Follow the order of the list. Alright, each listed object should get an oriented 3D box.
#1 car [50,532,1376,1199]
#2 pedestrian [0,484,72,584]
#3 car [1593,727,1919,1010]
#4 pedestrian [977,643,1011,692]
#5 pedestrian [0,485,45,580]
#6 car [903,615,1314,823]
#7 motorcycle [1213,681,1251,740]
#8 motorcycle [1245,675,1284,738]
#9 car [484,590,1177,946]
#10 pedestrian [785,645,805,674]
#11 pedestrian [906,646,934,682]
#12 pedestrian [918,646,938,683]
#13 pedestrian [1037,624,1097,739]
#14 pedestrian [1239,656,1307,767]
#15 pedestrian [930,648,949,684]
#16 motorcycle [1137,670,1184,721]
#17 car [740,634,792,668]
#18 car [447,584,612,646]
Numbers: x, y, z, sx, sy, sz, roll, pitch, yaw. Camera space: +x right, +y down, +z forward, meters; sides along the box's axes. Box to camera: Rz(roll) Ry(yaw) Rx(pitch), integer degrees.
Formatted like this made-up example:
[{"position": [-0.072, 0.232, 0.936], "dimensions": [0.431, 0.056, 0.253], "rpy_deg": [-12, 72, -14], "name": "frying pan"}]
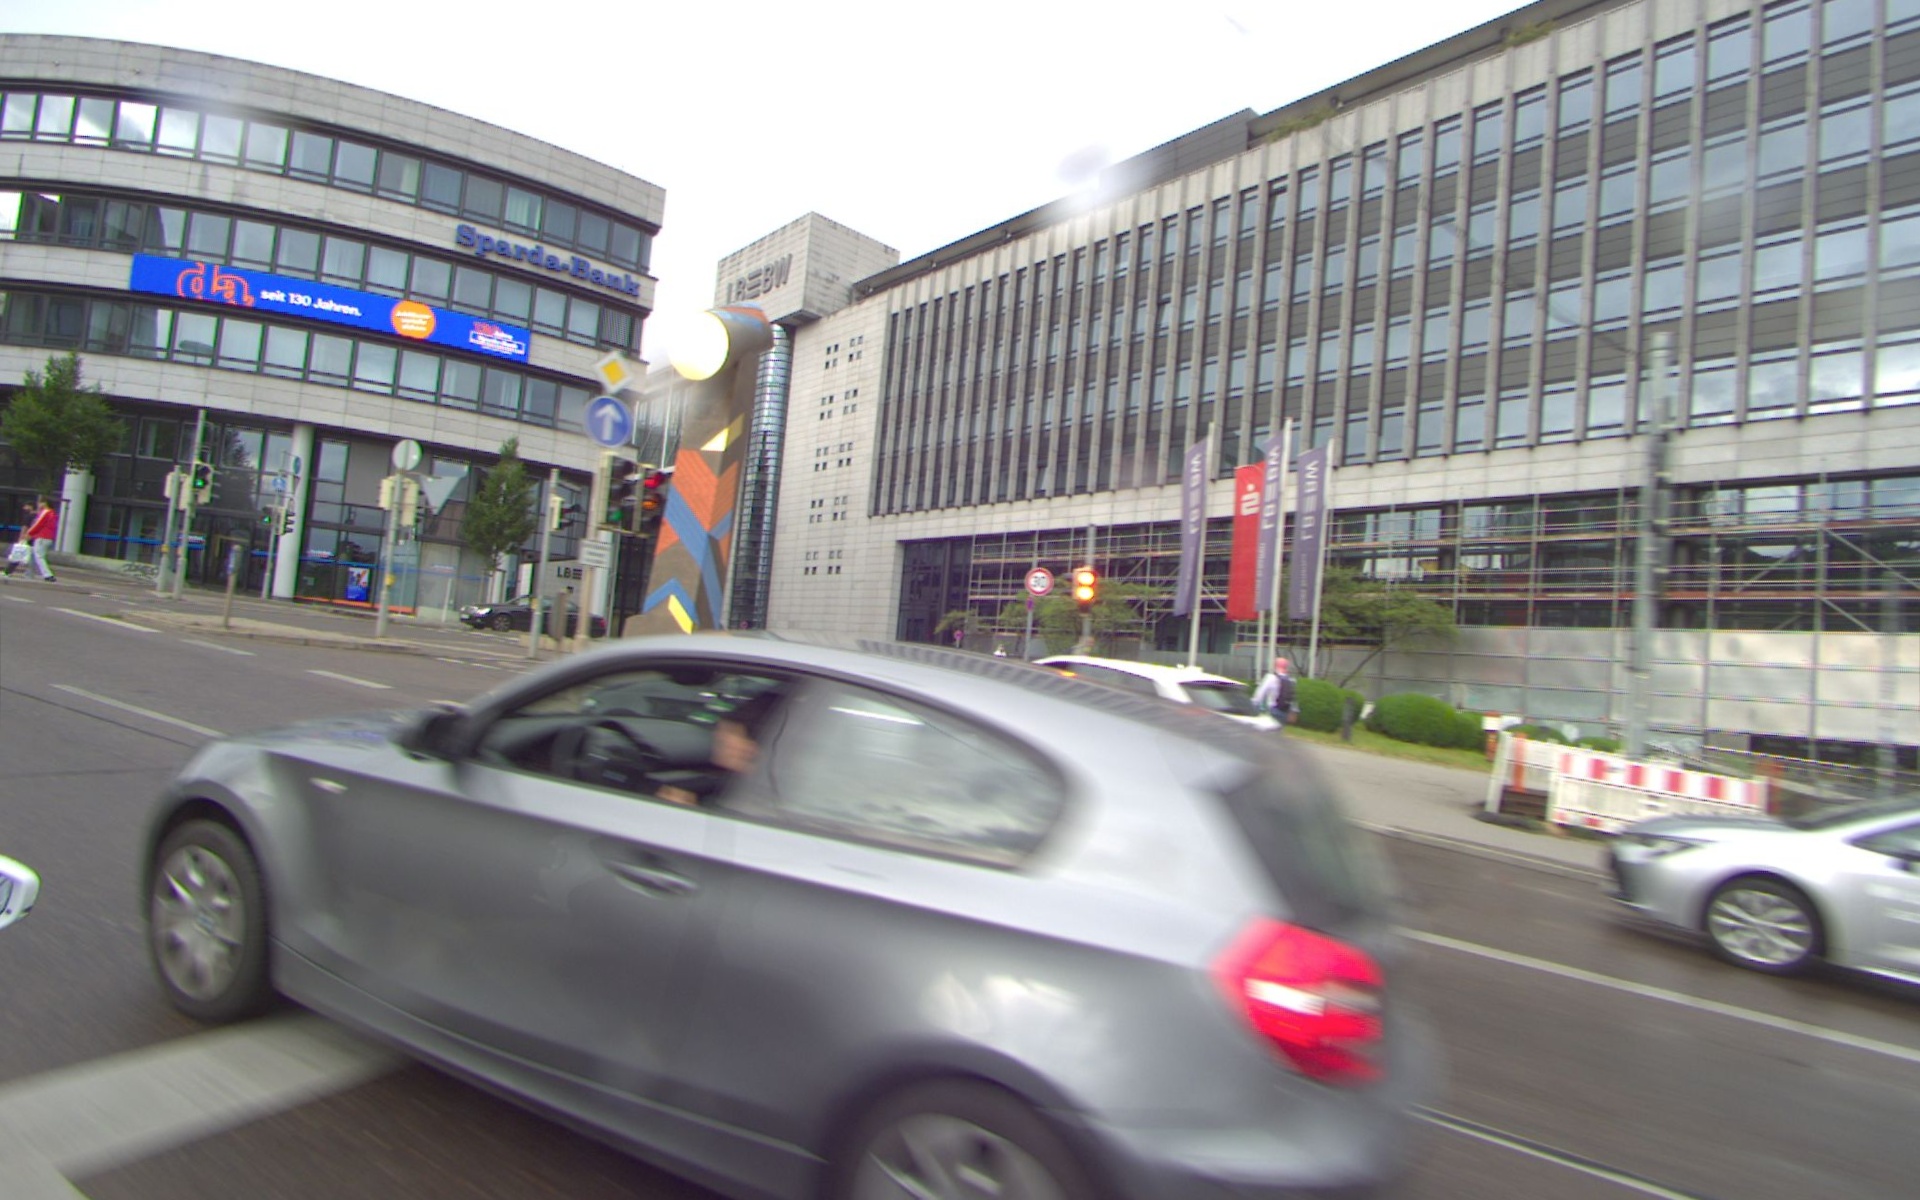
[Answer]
[{"position": [-0.860, 0.780, 3.336], "dimensions": [3.929, 1.459, 1.746], "rpy_deg": [6, -3, 26], "name": "car"}, {"position": [-19.387, -1.359, 21.113], "dimensions": [0.836, 1.925, 0.853], "rpy_deg": [8, -3, -35], "name": "pedestrian"}, {"position": [6.803, 1.871, 6.370], "dimensions": [4.546, 1.467, 1.703], "rpy_deg": [5, -4, 37], "name": "car"}, {"position": [1.374, 2.713, 40.526], "dimensions": [0.957, 1.838, 0.778], "rpy_deg": [7, -3, -21], "name": "pedestrian"}, {"position": [-20.403, -1.446, 21.601], "dimensions": [0.836, 1.926, 0.725], "rpy_deg": [8, -2, -36], "name": "pedestrian"}, {"position": [1.498, 1.255, 11.680], "dimensions": [1.766, 1.652, 4.529], "rpy_deg": [9, -3, -41], "name": "car"}, {"position": [6.464, 2.608, 23.887], "dimensions": [0.608, 1.285, 1.245], "rpy_deg": [7, -1, 21], "name": "motorcycle"}, {"position": [7.181, 2.489, 23.687], "dimensions": [0.595, 1.370, 1.731], "rpy_deg": [7, -1, 21], "name": "motorcycle"}, {"position": [-0.894, 0.929, 6.668], "dimensions": [4.153, 1.422, 1.762], "rpy_deg": [5, -5, 27], "name": "car"}, {"position": [-10.650, 3.828, 64.906], "dimensions": [1.065, 1.741, 0.656], "rpy_deg": [8, -1, -10], "name": "pedestrian"}, {"position": [-2.179, 3.483, 54.587], "dimensions": [0.936, 1.765, 0.896], "rpy_deg": [10, -2, -35], "name": "pedestrian"}, {"position": [-1.643, 3.315, 51.802], "dimensions": [0.557, 1.765, 0.548], "rpy_deg": [9, -2, -35], "name": "pedestrian"}, {"position": [2.115, 1.620, 20.005], "dimensions": [0.887, 2.120, 0.857], "rpy_deg": [8, -3, 6], "name": "pedestrian"}, {"position": [5.236, 1.856, 16.799], "dimensions": [0.829, 1.730, 0.732], "rpy_deg": [4, -3, 28], "name": "pedestrian"}, {"position": [-1.060, 3.430, 52.081], "dimensions": [0.557, 1.765, 0.548], "rpy_deg": [9, -2, -35], "name": "pedestrian"}, {"position": [5.109, 2.402, 25.537], "dimensions": [0.623, 1.094, 2.571], "rpy_deg": [7, 0, 21], "name": "motorcycle"}, {"position": [-9.707, 2.574, 50.150], "dimensions": [1.840, 1.456, 3.991], "rpy_deg": [7, -6, -20], "name": "car"}, {"position": [-14.418, 0.541, 33.951], "dimensions": [1.841, 1.457, 4.700], "rpy_deg": [3, -5, 40], "name": "car"}]
